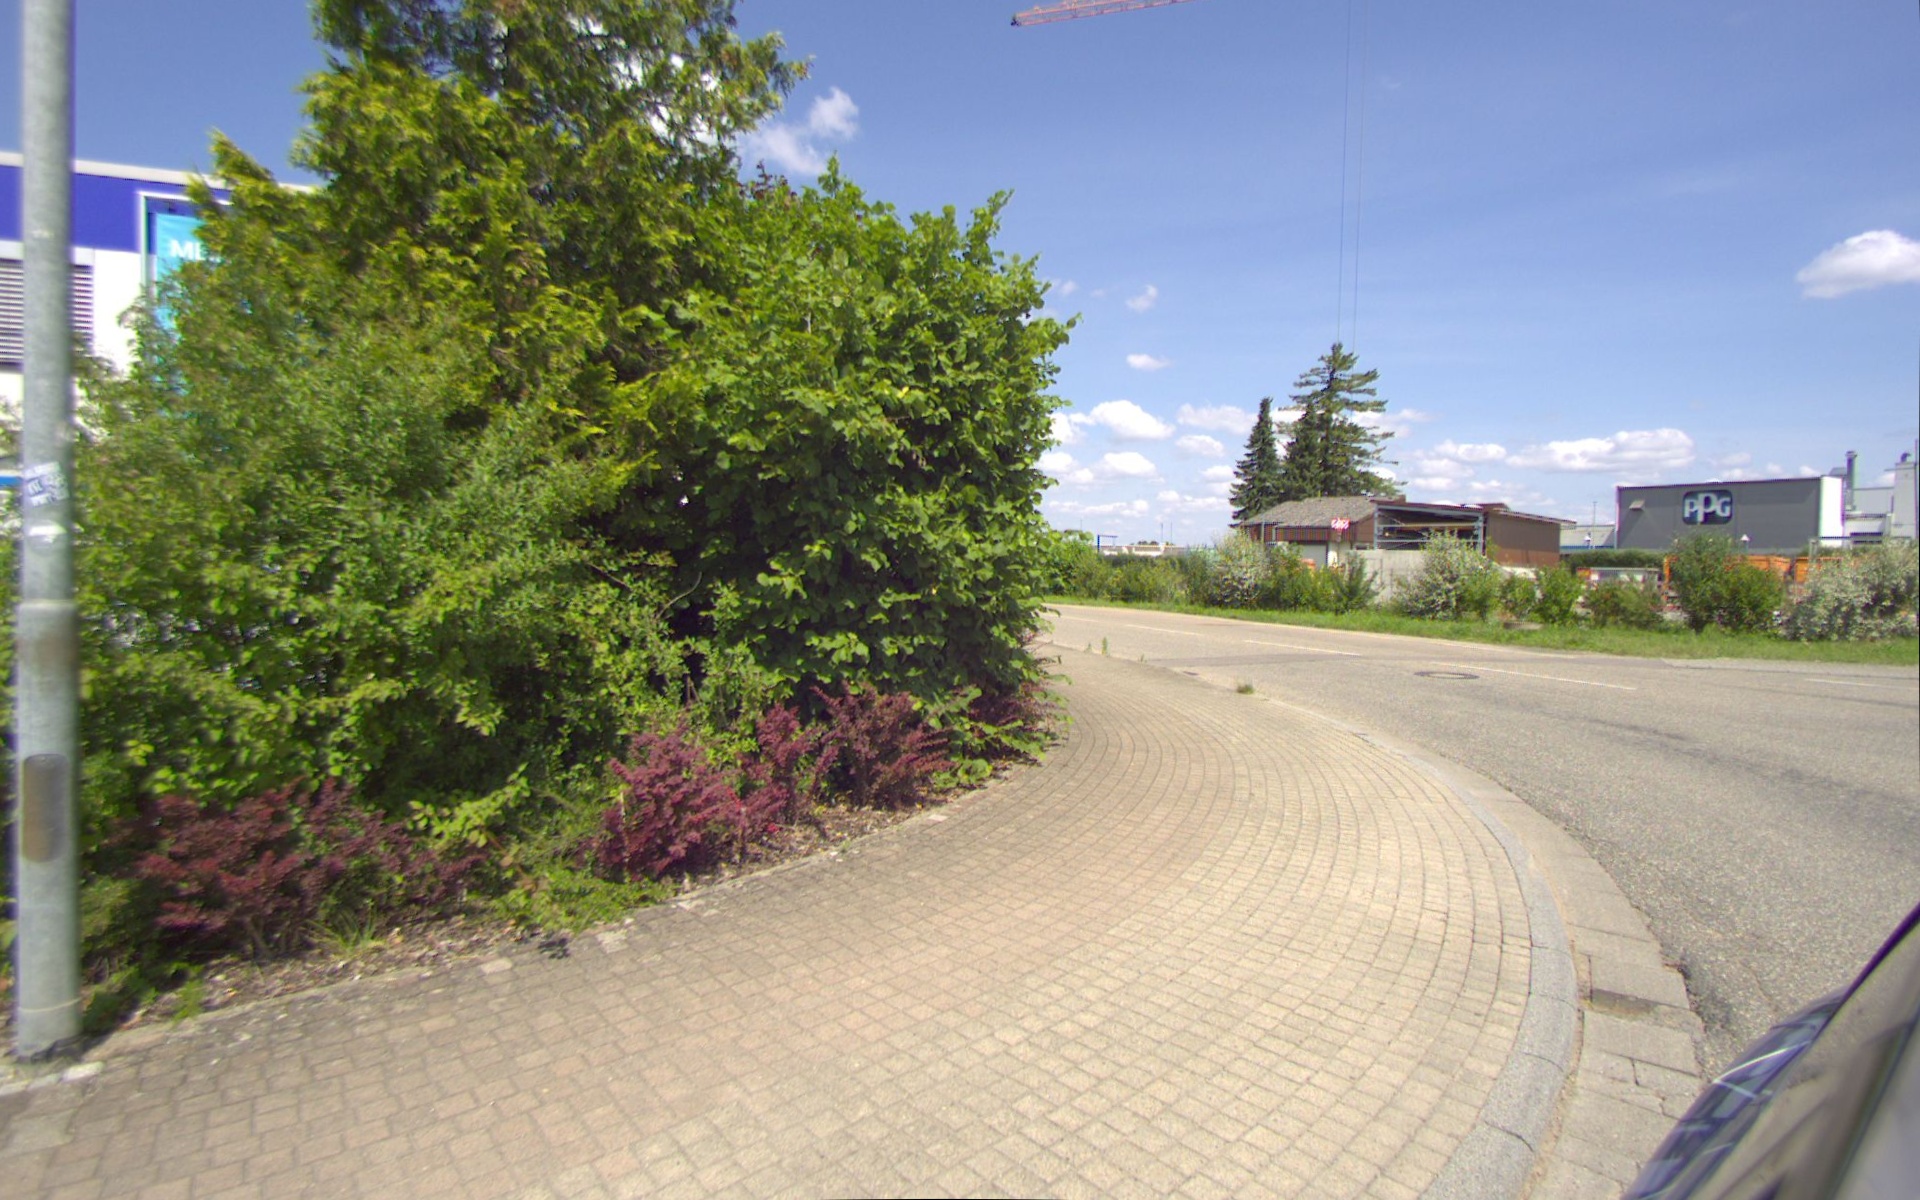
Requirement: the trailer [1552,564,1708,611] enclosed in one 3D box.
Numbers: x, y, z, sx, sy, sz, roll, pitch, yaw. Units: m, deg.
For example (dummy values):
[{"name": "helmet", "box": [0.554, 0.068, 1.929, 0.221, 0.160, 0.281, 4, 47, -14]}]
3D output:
[{"name": "trailer", "box": [29.064, -0.606, 44.041, 1.794, 1.800, 5.385, -4, 5, -45]}]
